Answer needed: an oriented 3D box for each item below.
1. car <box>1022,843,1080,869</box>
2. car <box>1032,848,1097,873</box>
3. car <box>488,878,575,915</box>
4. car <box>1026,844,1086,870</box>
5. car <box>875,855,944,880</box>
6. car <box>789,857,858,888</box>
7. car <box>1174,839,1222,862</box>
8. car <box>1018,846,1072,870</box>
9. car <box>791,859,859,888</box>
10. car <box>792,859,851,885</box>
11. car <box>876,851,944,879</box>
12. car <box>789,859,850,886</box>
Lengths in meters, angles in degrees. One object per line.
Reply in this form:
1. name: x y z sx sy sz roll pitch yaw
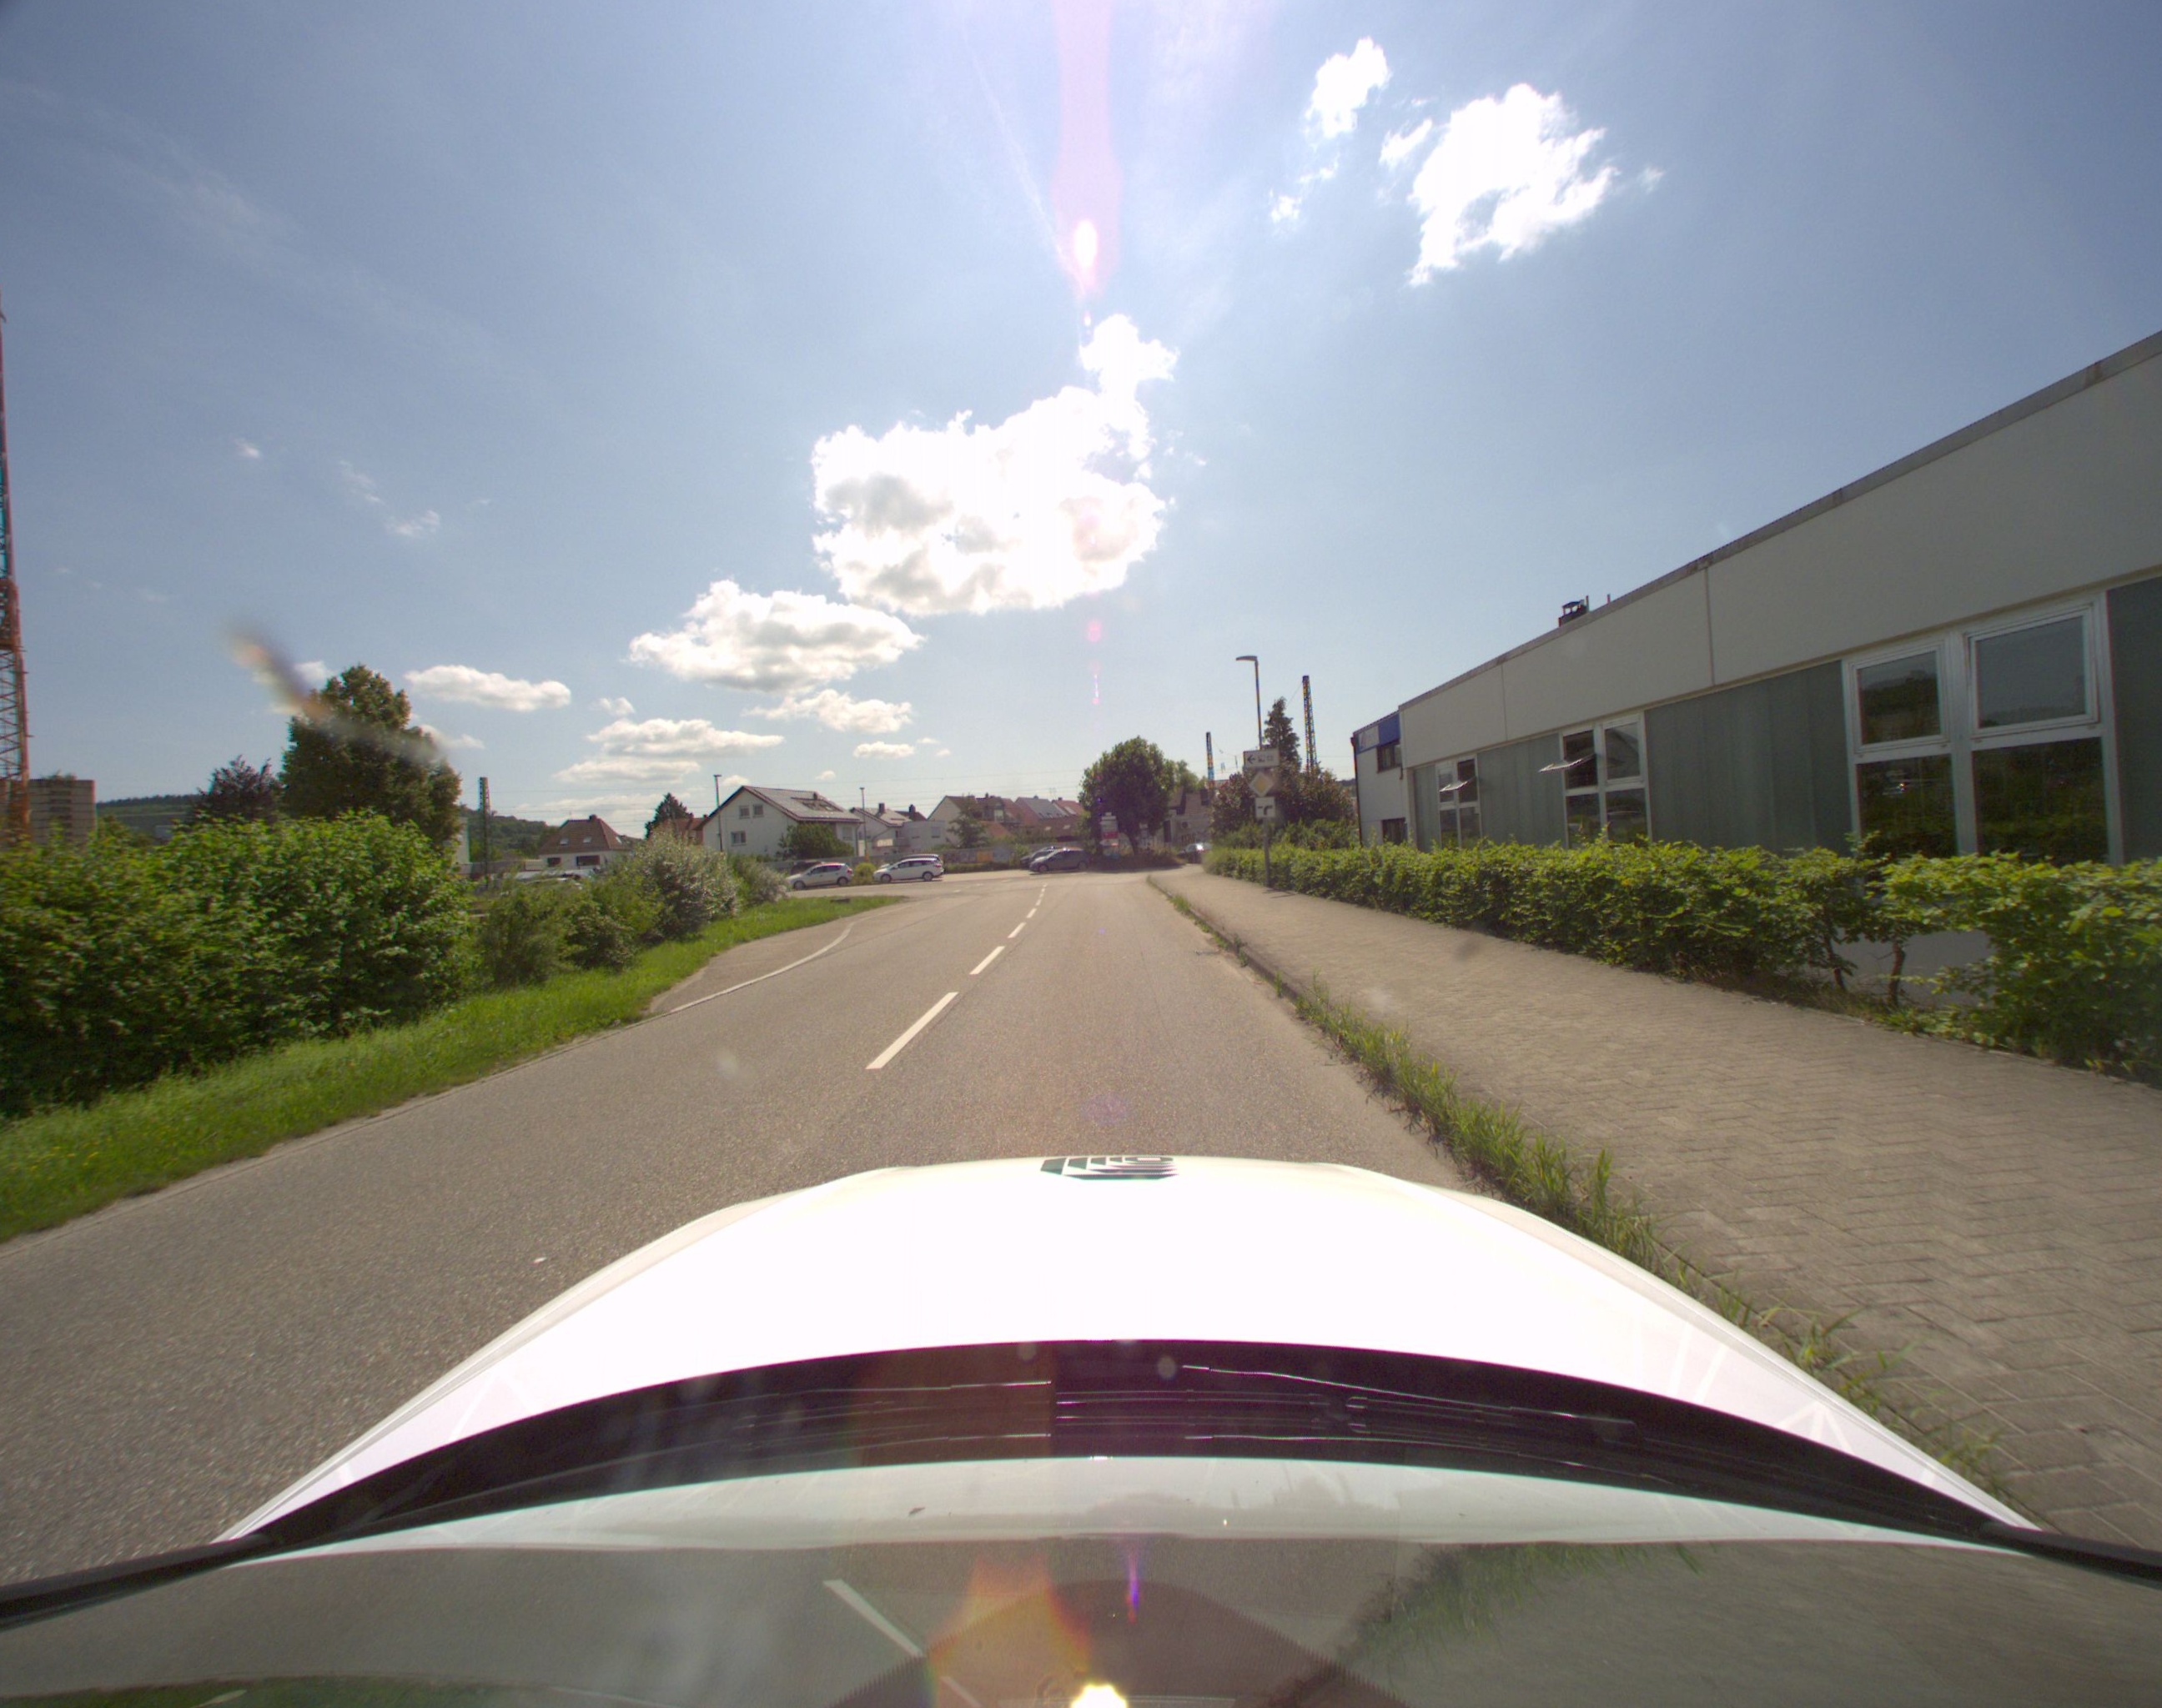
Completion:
1. car: -2.254 0.149 59.953 3.985 1.657 1.994 -4 0 -8
2. car: -1.155 0.414 55.010 4.184 1.463 1.660 -3 0 -8
3. car: -34.545 2.646 51.353 3.994 1.891 1.990 -4 0 -15
4. car: -1.792 0.218 57.055 3.985 1.586 1.775 -4 0 -8
5. car: -11.172 0.880 53.212 4.284 1.477 1.821 -2 -1 -11
6. car: -17.169 1.188 54.418 4.169 1.638 1.945 -5 0 -16
7. car: 8.305 -0.280 58.144 1.757 1.385 3.976 -2 3 -19
8. car: -2.796 0.316 62.526 3.985 1.730 1.765 -2 -1 -8
9. car: -16.364 1.250 52.257 4.010 1.562 1.812 -3 0 -17
10. car: -18.773 1.275 59.048 3.837 1.589 1.490 -4 0 -14
11. car: -12.089 0.766 57.837 4.448 1.690 1.995 -3 1 -7
12. car: -18.200 1.281 56.876 3.786 1.558 1.687 -4 0 -12
